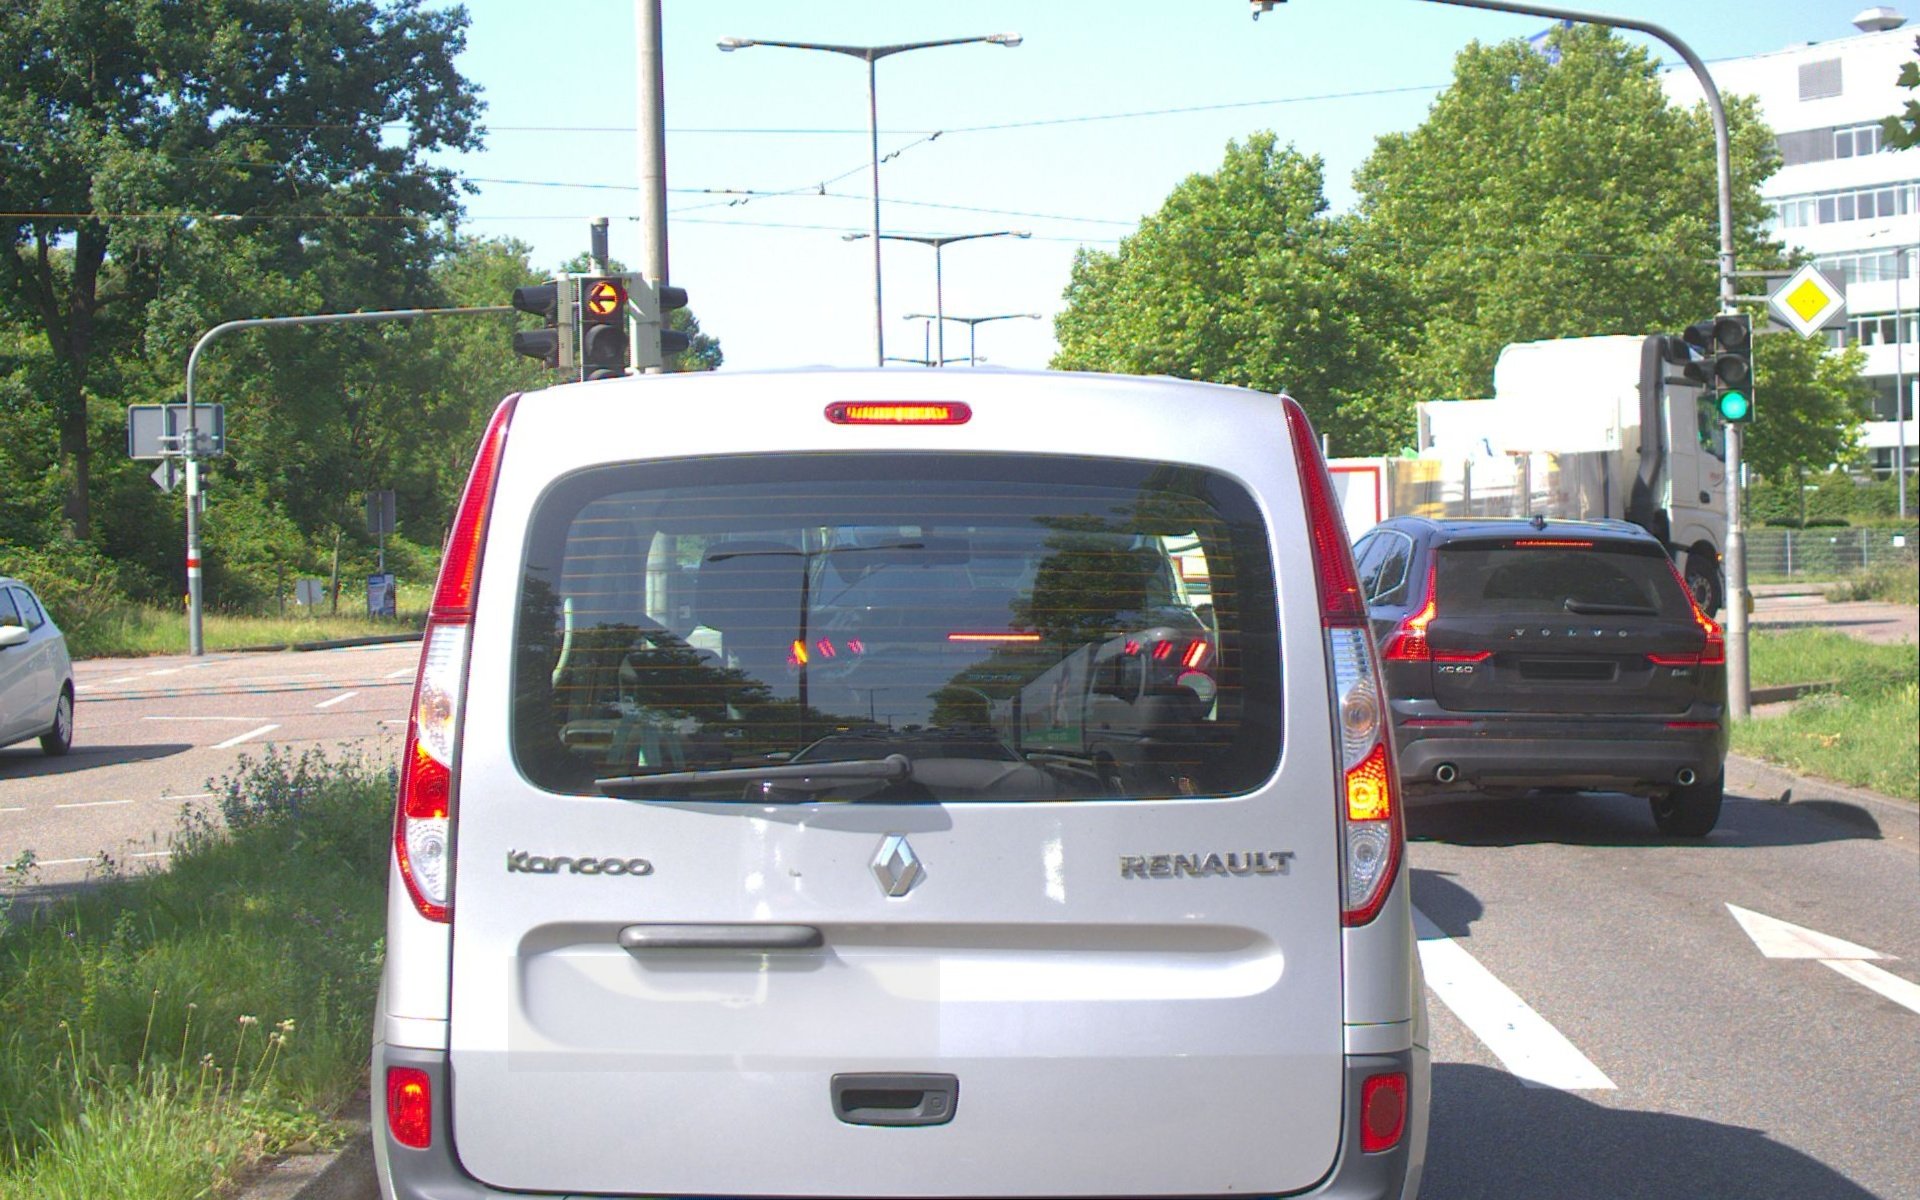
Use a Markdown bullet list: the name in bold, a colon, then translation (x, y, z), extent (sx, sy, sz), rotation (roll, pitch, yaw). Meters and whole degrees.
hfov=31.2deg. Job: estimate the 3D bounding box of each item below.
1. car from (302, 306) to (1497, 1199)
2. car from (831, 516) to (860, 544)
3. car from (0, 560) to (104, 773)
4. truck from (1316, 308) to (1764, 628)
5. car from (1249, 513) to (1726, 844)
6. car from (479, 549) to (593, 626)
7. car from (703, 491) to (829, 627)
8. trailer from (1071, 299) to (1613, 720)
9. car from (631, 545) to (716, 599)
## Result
- **car**: translation (-0.117, 0.464, 7.200), extent (1.786, 1.831, 4.000), rotation (1, 1, -1)
- **car**: translation (-8.340, -5.082, 250.724), extent (1.888, 2.007, 4.000), rotation (1, 1, 2)
- **car**: translation (-7.874, 0.495, 26.234), extent (1.699, 1.503, 4.000), rotation (-1, 2, -1)
- **truck**: translation (7.381, -1.529, 42.865), extent (2.916, 3.630, 7.176), rotation (1, 1, 32)
- **car**: translation (2.750, 0.357, 18.928), extent (1.875, 1.586, 4.434), rotation (1, 1, -1)
- **car**: translation (-9.448, -0.289, 76.864), extent (1.911, 1.636, 3.737), rotation (-1, 0, 2)
- **car**: translation (-3.889, -0.819, 69.652), extent (1.994, 2.598, 5.133), rotation (-1, 0, 2)
- **trailer**: translation (4.426, -0.831, 35.930), extent (2.903, 3.610, 12.674), rotation (1, 1, 19)
- **car**: translation (-8.477, -0.838, 102.060), extent (1.994, 1.535, 4.236), rotation (-1, 0, 2)
